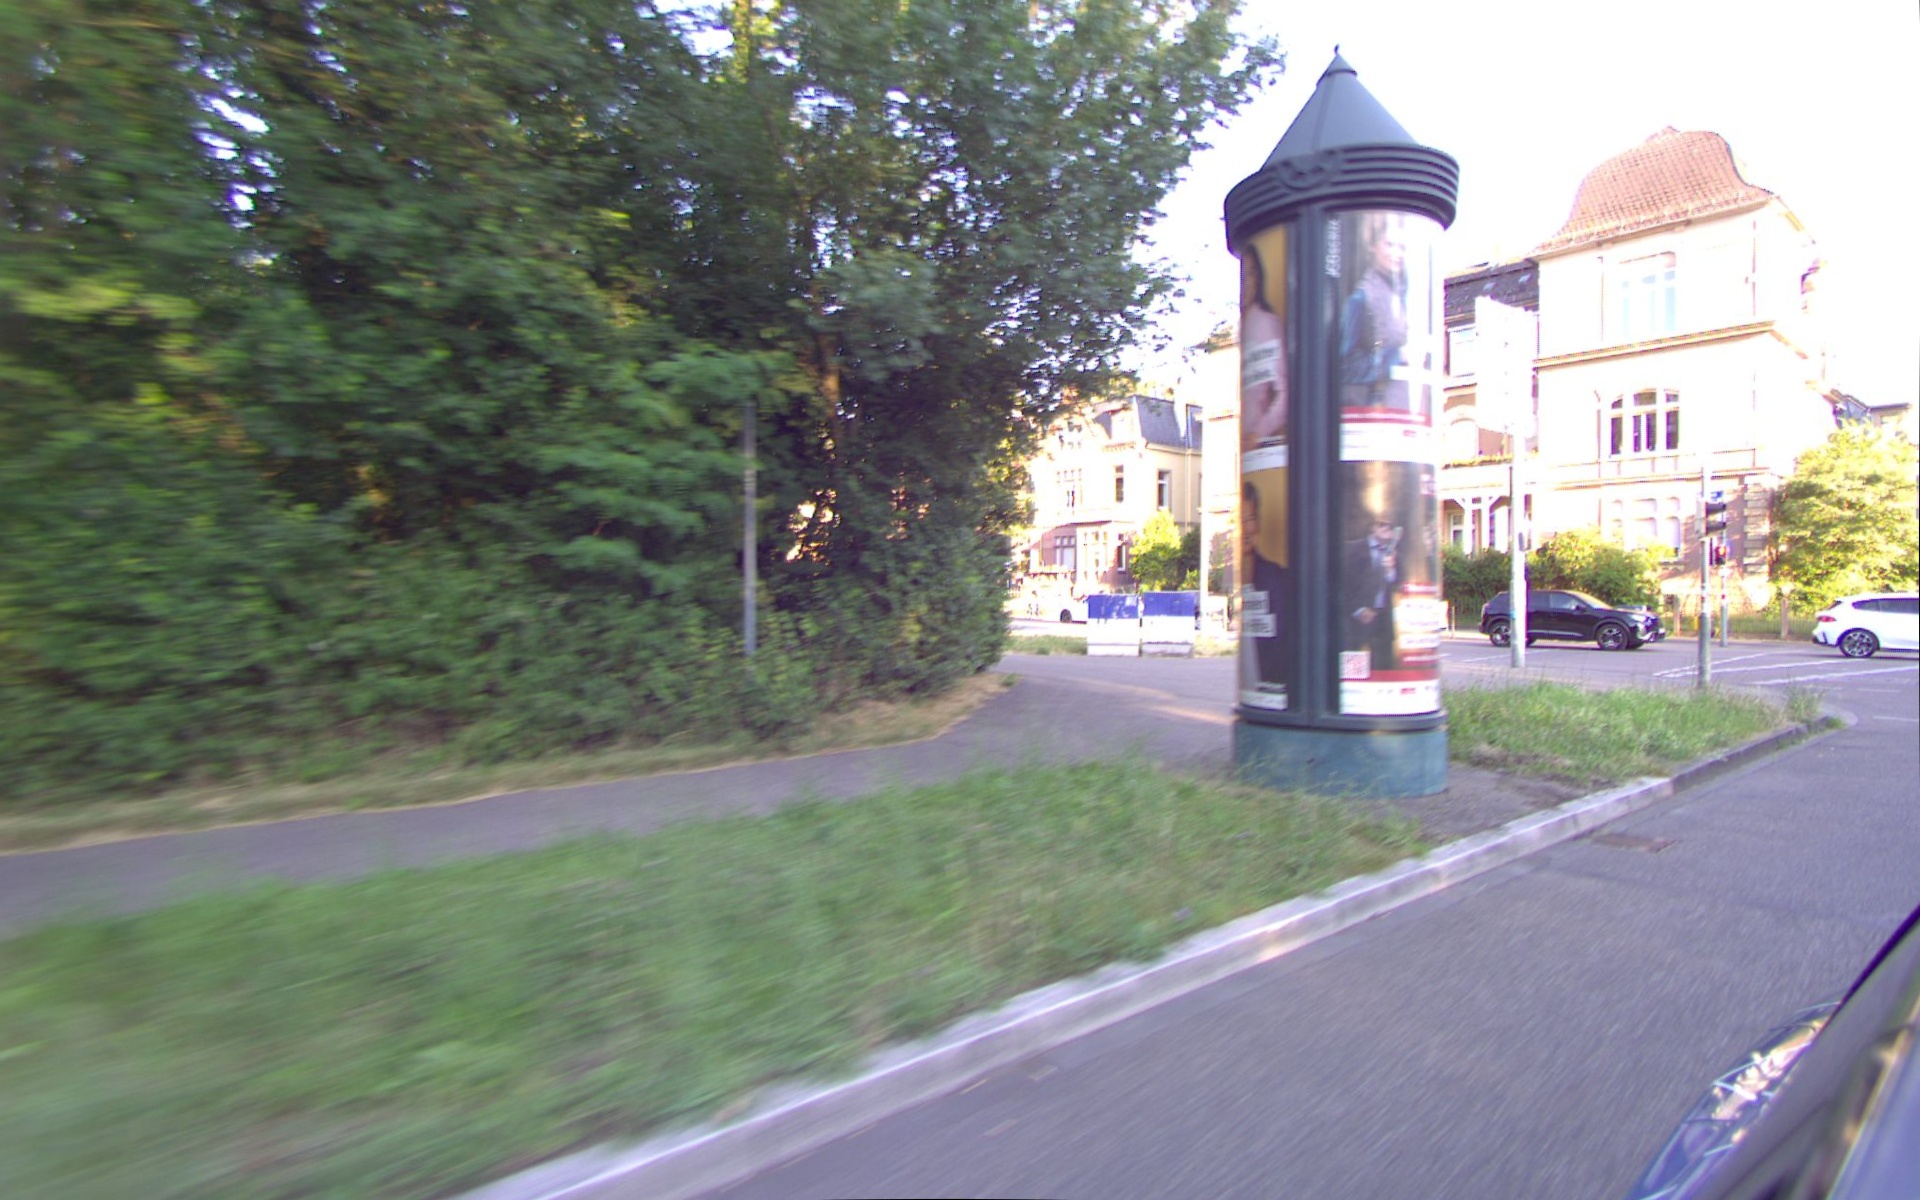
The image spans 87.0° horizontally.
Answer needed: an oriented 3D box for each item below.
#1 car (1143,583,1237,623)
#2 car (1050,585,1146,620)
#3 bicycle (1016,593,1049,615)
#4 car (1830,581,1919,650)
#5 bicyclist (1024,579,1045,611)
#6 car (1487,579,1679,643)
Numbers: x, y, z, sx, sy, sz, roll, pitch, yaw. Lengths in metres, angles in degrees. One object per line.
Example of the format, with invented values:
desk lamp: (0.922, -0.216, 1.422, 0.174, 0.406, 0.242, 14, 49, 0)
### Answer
car: (9.740, 0.120, 43.021, 1.603, 1.554, 3.720, 3, -2, -38)
car: (6.319, 0.095, 46.747, 1.582, 1.461, 4.424, 3, -1, -42)
bicycle: (3.848, 0.189, 53.962, 0.649, 1.102, 1.901, -3, 2, -39)
car: (21.654, 0.336, 21.969, 4.173, 1.484, 1.731, 1, 1, 43)
bicyclist: (3.970, -0.258, 53.811, 0.641, 1.653, 0.913, -2, 2, -39)
car: (16.293, 0.251, 26.614, 1.654, 1.555, 3.994, 0, 1, -40)
